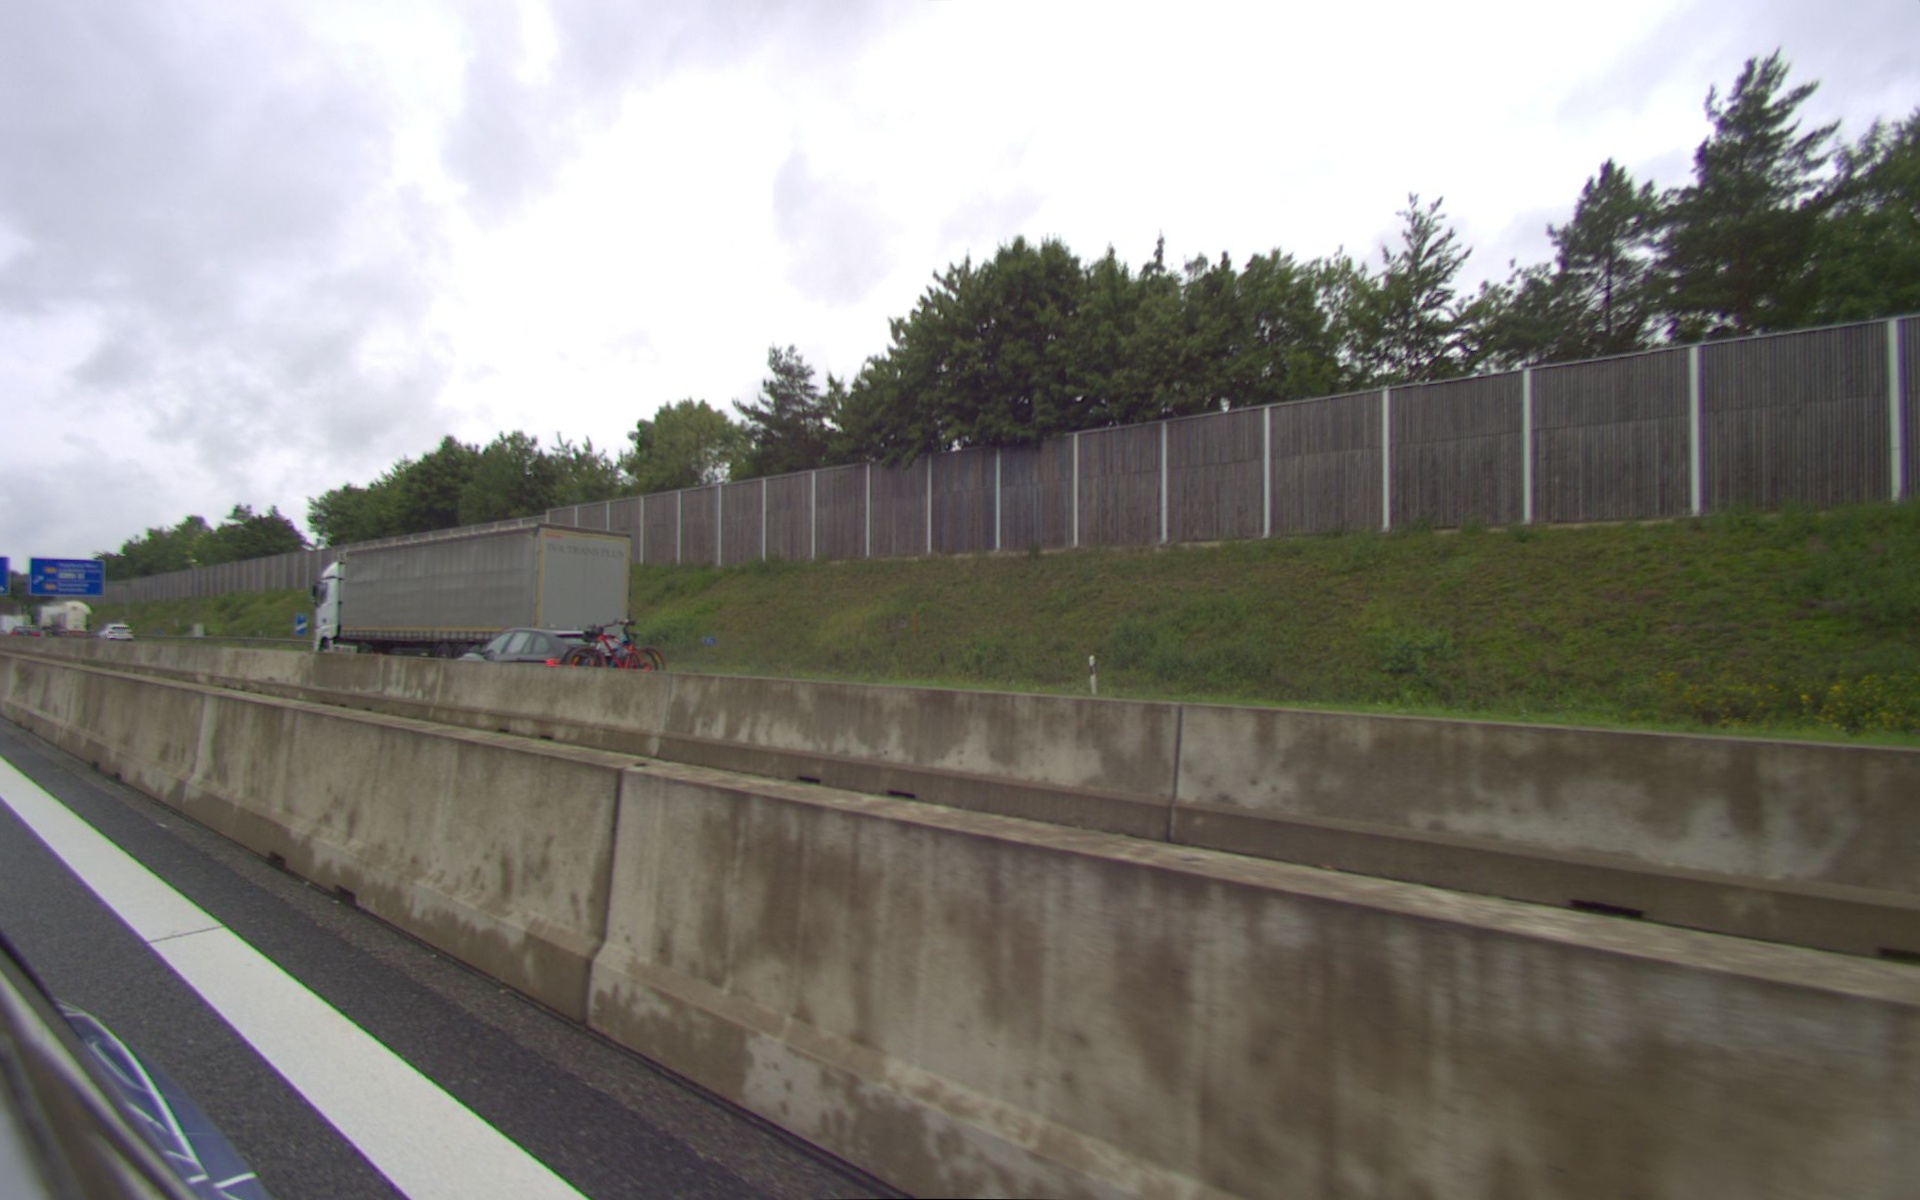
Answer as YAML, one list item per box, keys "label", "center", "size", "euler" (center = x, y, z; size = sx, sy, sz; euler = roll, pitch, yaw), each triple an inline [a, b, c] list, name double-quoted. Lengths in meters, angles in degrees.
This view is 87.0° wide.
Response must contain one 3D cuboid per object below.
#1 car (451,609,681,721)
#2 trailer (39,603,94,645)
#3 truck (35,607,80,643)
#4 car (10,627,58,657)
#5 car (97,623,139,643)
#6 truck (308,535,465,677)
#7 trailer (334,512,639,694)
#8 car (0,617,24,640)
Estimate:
- label: "car"
  center: [-6.927, 1.048, 17.609]
  size: [4.355, 1.702, 1.952]
  euler: [-1, -2, 41]
- label: "trailer"
  center: [-90.656, 2.427, 102.599]
  size: [10.640, 3.953, 2.683]
  euler: [-1, -4, 41]
- label: "truck"
  center: [-94.781, 2.664, 106.230]
  size: [5.855, 3.585, 2.672]
  euler: [-1, -4, 41]
- label: "car"
  center: [-65.215, 2.910, 71.269]
  size: [4.767, 2.029, 1.972]
  euler: [-1, -2, 42]
- label: "car"
  center: [-72.484, 2.802, 87.092]
  size: [4.958, 1.656, 1.973]
  euler: [-1, -2, 41]
- label: "truck"
  center: [-19.454, 0.201, 34.197]
  size: [6.094, 4.357, 2.750]
  euler: [-1, 0, 41]
- label: "trailer"
  center: [-14.507, 0.125, 29.834]
  size: [14.017, 4.357, 2.750]
  euler: [-1, 0, 41]
- label: "car"
  center: [-126.872, 3.748, 134.969]
  size: [6.685, 2.993, 2.339]
  euler: [-1, -2, 41]
